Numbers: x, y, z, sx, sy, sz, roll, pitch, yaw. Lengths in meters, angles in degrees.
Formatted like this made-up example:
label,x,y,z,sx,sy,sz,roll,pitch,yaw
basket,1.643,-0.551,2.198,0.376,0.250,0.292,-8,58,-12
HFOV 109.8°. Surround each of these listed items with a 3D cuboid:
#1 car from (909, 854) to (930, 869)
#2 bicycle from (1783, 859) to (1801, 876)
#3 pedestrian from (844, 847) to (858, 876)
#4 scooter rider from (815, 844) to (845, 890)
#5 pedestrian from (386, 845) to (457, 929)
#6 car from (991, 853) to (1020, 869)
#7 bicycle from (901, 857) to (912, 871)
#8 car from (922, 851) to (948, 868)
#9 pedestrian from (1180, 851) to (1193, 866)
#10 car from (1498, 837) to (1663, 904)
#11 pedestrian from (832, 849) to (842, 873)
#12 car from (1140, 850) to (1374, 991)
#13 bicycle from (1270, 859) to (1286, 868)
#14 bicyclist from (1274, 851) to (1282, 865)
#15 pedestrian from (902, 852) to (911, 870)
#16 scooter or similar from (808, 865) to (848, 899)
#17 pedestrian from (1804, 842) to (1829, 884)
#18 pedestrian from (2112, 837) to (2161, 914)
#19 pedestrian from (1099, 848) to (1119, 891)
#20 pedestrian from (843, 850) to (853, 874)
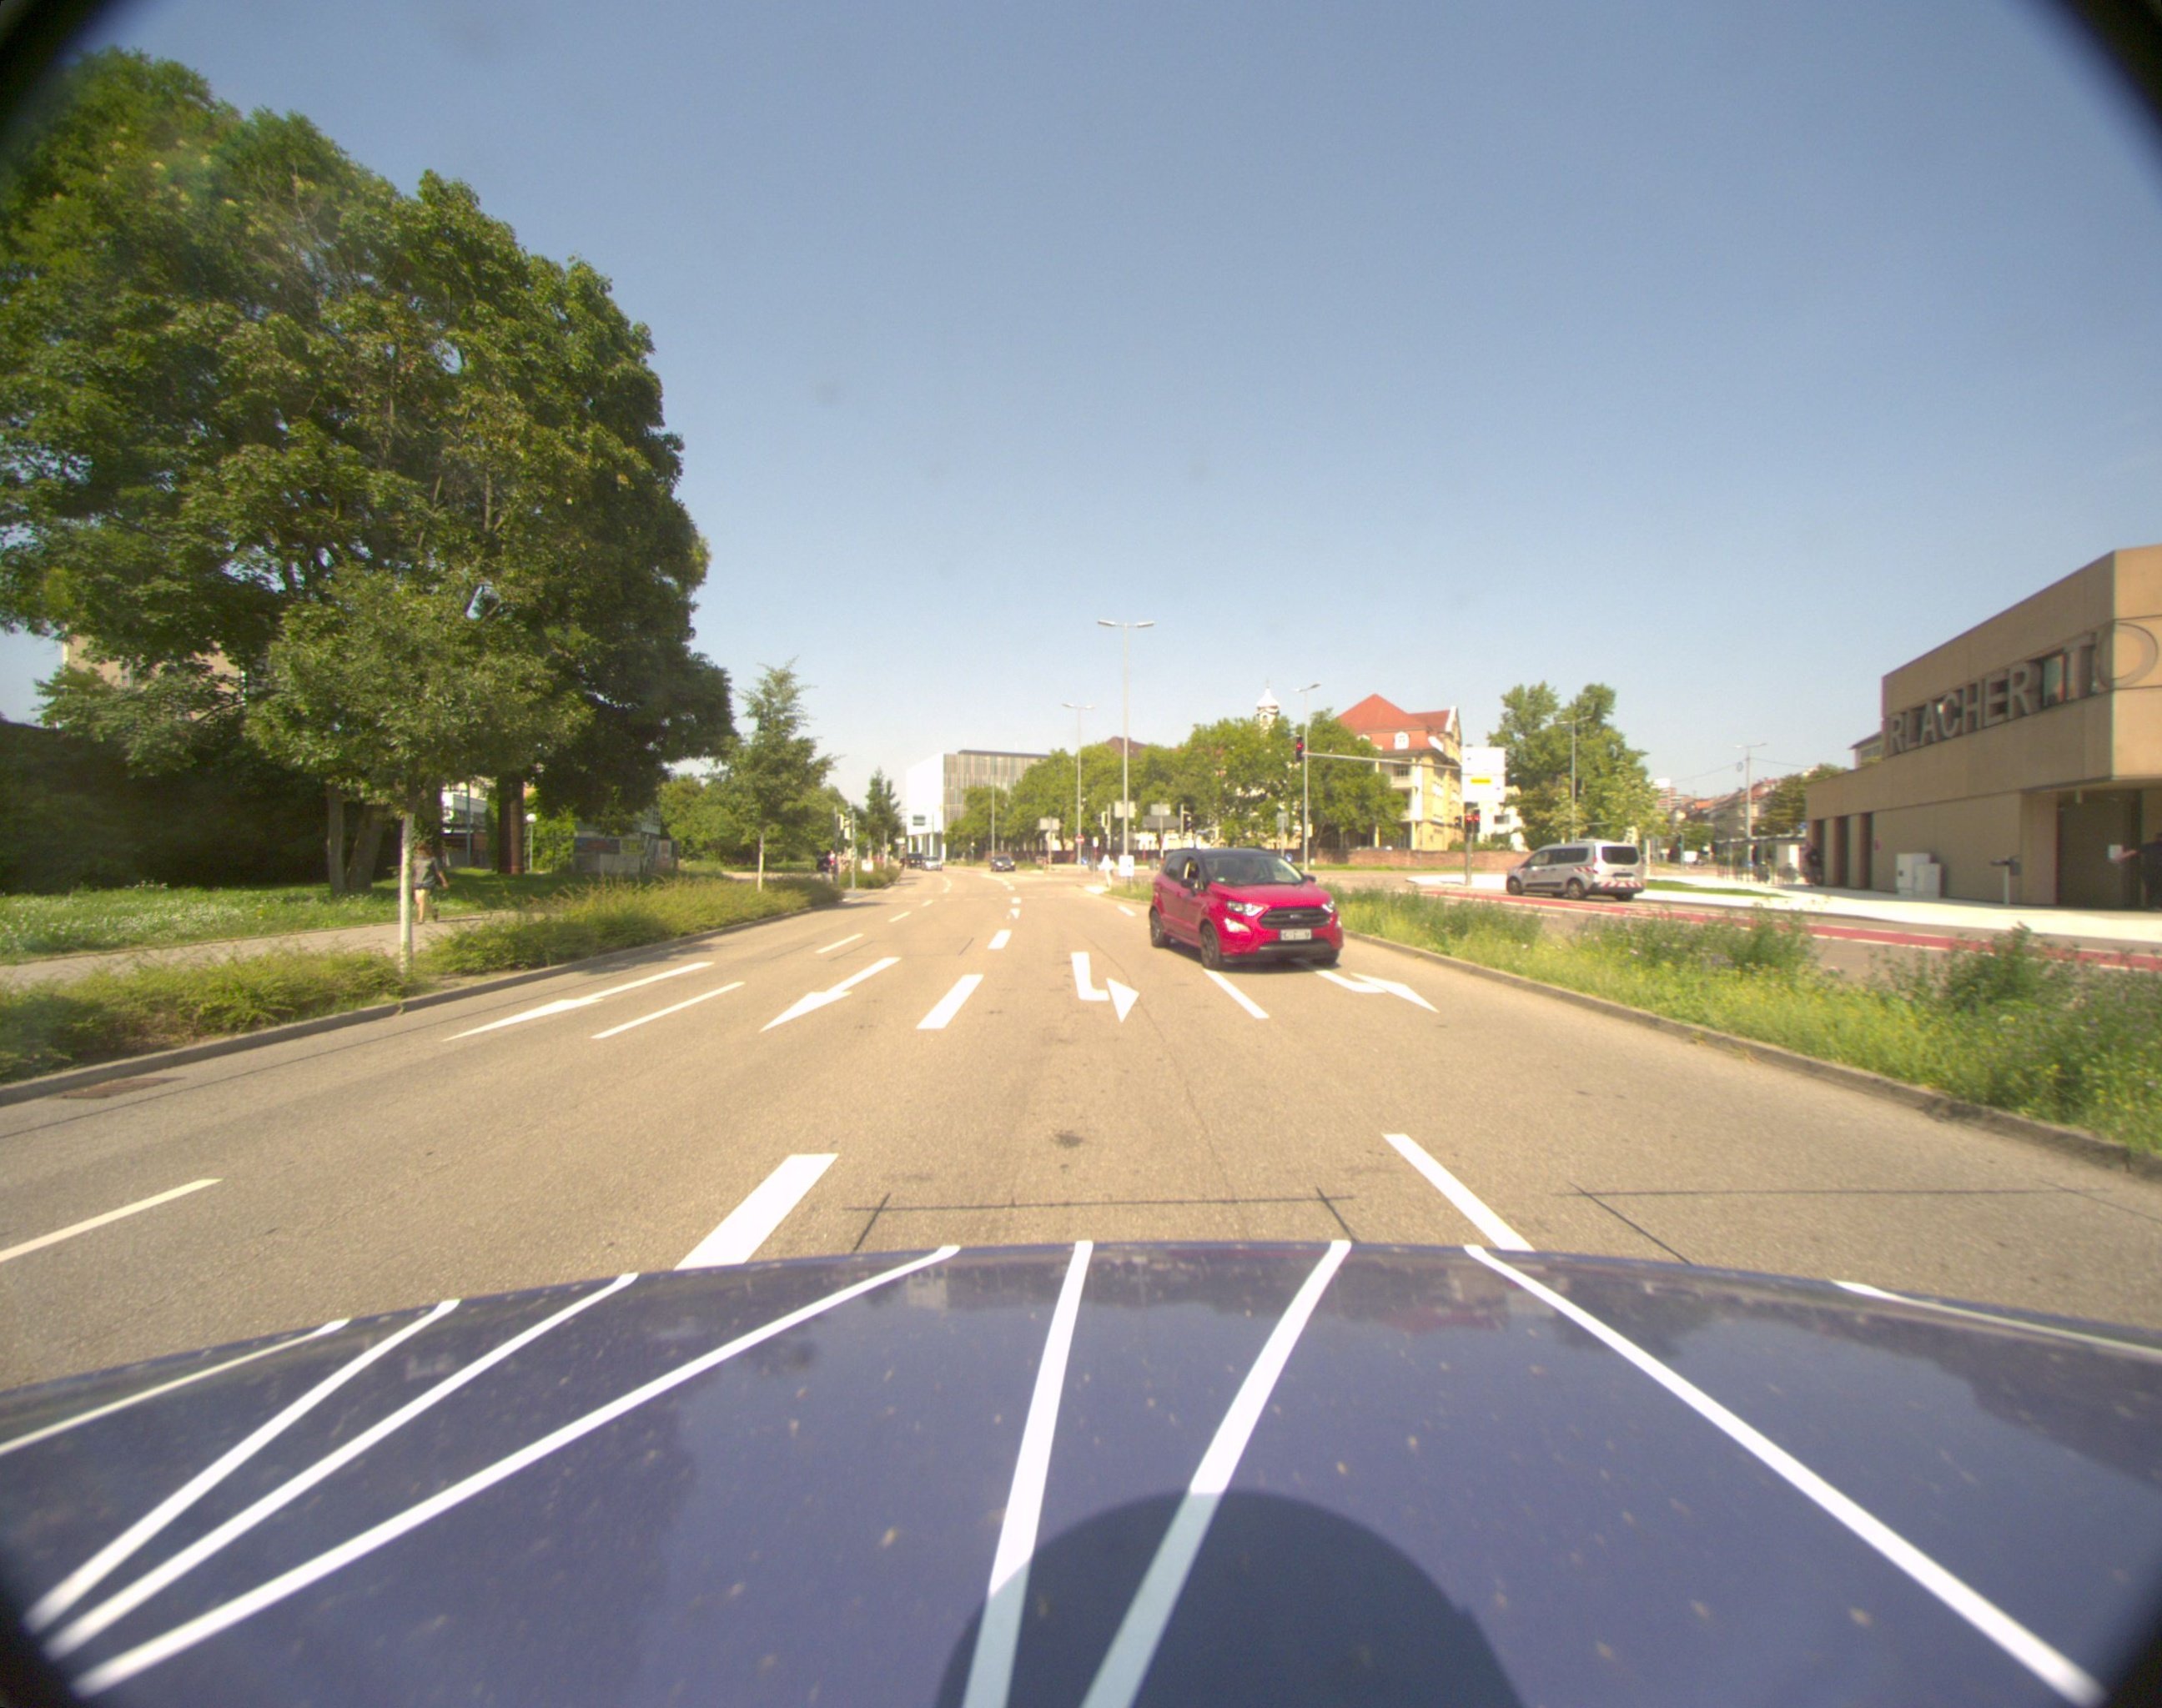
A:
label,x,y,z,sx,sy,sz,roll,pitch,yaw
car,-19.309,0.886,90.695,2.002,1.769,3.993,0,0,-19
bicycle,45.293,0.873,48.396,0.525,1.034,1.774,1,1,34
pedestrian,-14.463,0.463,47.734,0.794,1.758,0.825,0,1,-19
scooter rider,-9.611,0.483,29.076,0.803,1.729,0.689,1,1,17
pedestrian,-13.658,0.666,15.755,0.708,1.695,0.878,2,1,-6
car,-6.871,0.574,68.617,1.793,1.349,3.418,-2,1,-20
bicycle,-15.853,0.901,68.946,0.787,1.205,1.786,0,1,-19
car,-15.093,0.561,78.432,2.002,1.669,3.993,0,0,-19
pedestrian,14.005,0.590,100.943,1.074,2.002,1.231,0,1,-42
car,15.639,0.471,24.127,2.000,1.849,4.331,2,0,-6
pedestrian,-17.811,0.496,55.468,0.694,1.761,0.586,0,1,-18
car,2.294,0.769,11.062,1.846,1.605,3.996,-1,1,-11
bicycle,17.313,0.825,66.787,1.488,0.807,0.436,0,1,-25
bicyclist,17.343,0.380,66.790,0.541,1.225,0.432,0,0,-25
pedestrian,-15.803,0.636,68.791,0.781,1.659,0.548,0,1,-19
scooter or similar,-9.681,1.048,29.048,1.365,1.227,0.586,1,1,17
pedestrian,29.398,0.369,30.372,0.567,1.668,0.537,1,1,31
pedestrian,23.604,0.459,16.818,0.633,1.679,0.746,0,1,-18
pedestrian,1.105,0.620,30.357,0.699,1.685,0.608,1,1,10
pedestrian,-17.104,0.602,55.727,0.694,1.761,0.586,0,1,-18
